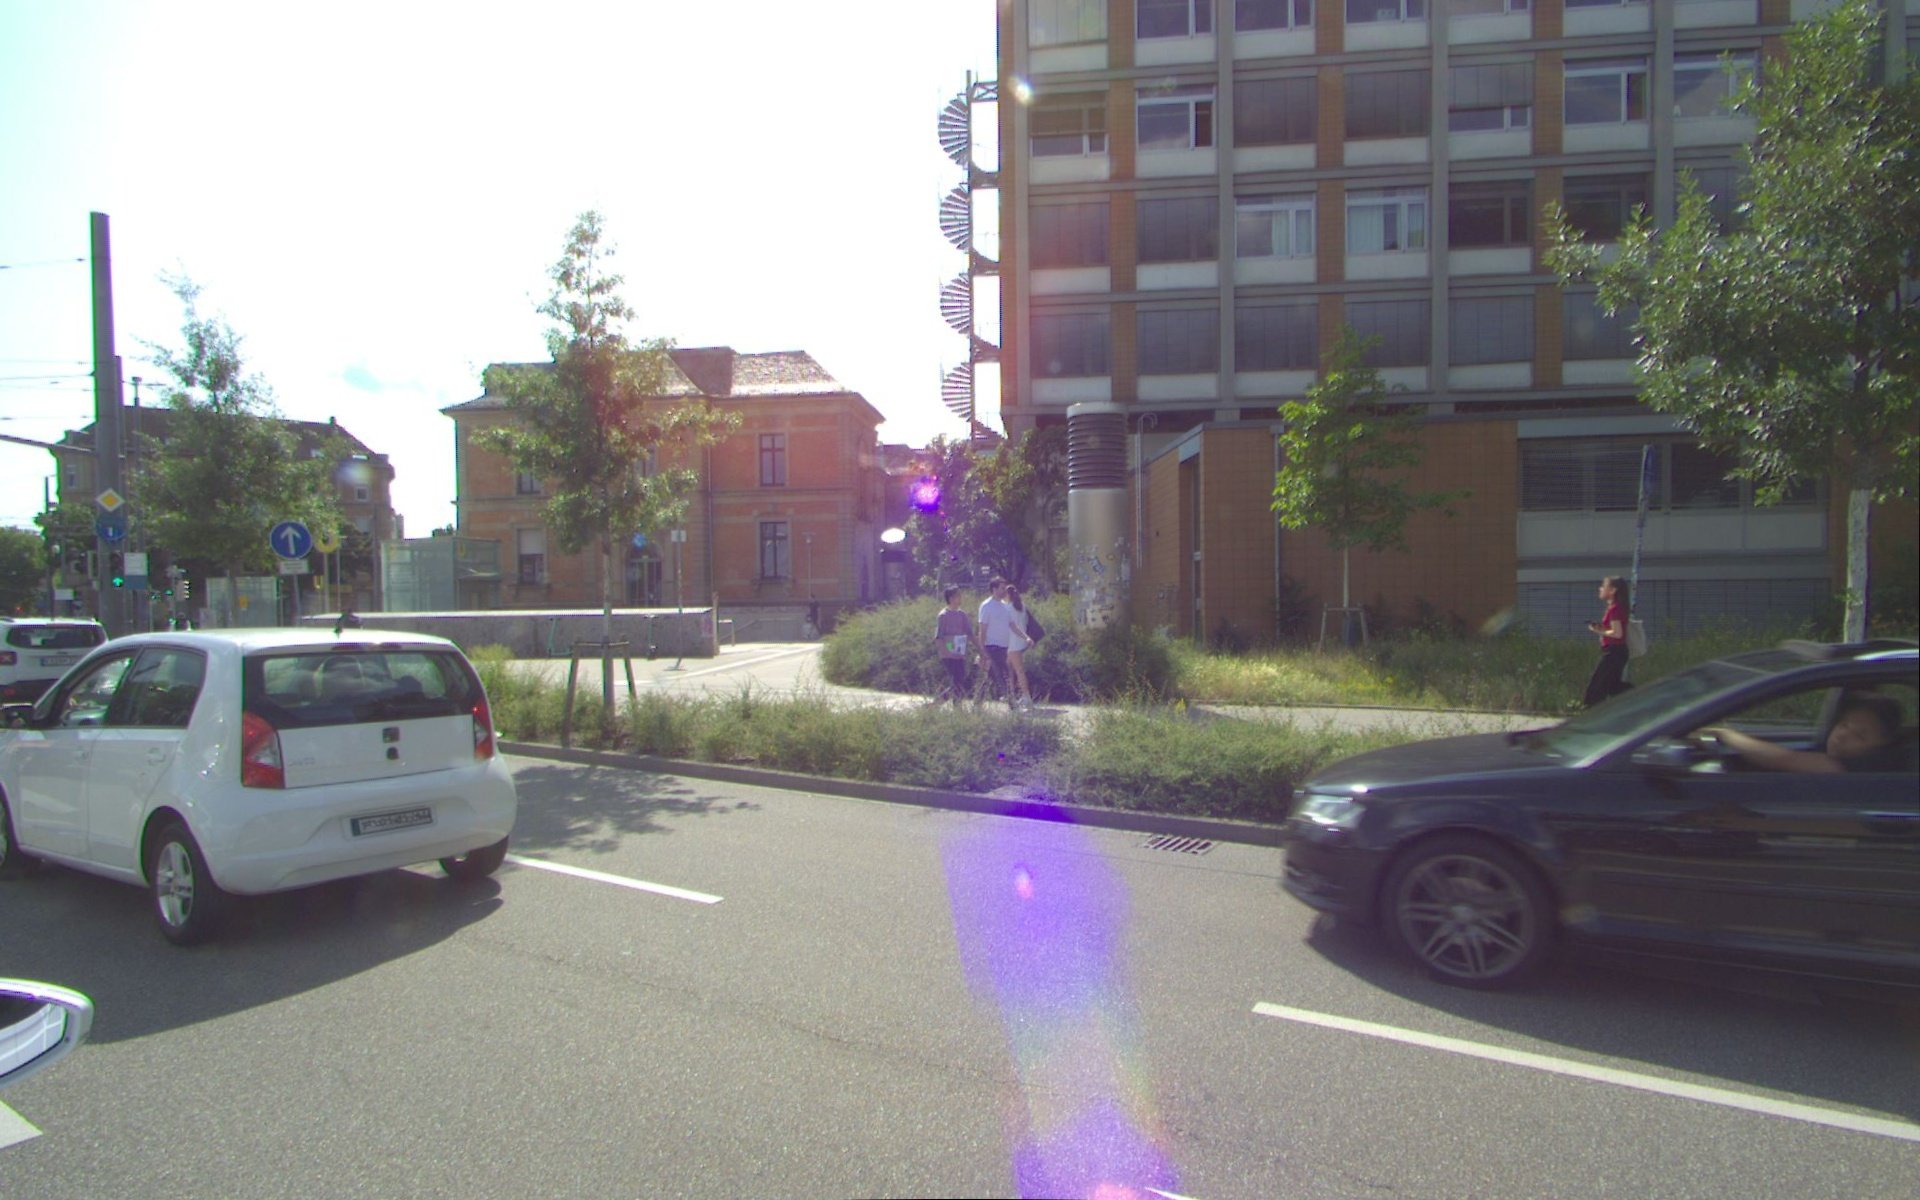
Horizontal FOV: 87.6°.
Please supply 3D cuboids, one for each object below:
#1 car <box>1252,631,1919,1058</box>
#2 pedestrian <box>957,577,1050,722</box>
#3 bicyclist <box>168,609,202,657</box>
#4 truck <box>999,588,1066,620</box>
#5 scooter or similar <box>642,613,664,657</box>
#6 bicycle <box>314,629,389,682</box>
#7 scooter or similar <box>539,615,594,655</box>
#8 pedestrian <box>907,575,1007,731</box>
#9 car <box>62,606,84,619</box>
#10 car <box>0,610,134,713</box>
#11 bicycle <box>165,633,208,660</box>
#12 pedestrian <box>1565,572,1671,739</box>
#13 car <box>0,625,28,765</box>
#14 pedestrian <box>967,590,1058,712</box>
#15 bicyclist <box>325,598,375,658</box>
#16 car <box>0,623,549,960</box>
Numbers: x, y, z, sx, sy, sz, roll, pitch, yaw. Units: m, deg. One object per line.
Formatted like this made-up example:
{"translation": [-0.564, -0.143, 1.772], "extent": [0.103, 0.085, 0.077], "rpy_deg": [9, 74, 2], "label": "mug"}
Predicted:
{"translation": [3.480, 0.842, 4.166], "extent": [4.071, 1.390, 1.696], "rpy_deg": [-1, 0, 30], "label": "car"}
{"translation": [0.561, 0.608, 12.864], "extent": [0.878, 1.770, 0.739], "rpy_deg": [-1, 3, 37], "label": "pedestrian"}
{"translation": [-24.012, 1.014, 31.035], "extent": [0.763, 1.470, 0.607], "rpy_deg": [0, 0, 33], "label": "bicyclist"}
{"translation": [4.919, 0.294, 67.489], "extent": [4.304, 2.039, 2.000], "rpy_deg": [0, -2, 11], "label": "truck"}
{"translation": [-8.337, 0.934, 27.229], "extent": [0.457, 1.119, 1.316], "rpy_deg": [-1, 1, -13], "label": "scooter or similar"}
{"translation": [-13.043, 1.164, 21.441], "extent": [1.939, 0.983, 0.841], "rpy_deg": [0, 3, 43], "label": "bicycle"}
{"translation": [-11.248, 0.993, 28.607], "extent": [1.420, 1.133, 0.465], "rpy_deg": [0, 2, 13], "label": "scooter or similar"}
{"translation": [-0.032, 0.607, 12.046], "extent": [0.878, 1.778, 0.739], "rpy_deg": [-1, 3, 37], "label": "pedestrian"}
{"translation": [-116.116, 1.668, 131.109], "extent": [1.820, 1.673, 3.971], "rpy_deg": [0, -1, -37], "label": "car"}
{"translation": [-16.634, 1.058, 18.144], "extent": [3.951, 1.673, 1.829], "rpy_deg": [-2, -1, 39], "label": "car"}
{"translation": [-24.000, 1.444, 31.048], "extent": [1.599, 0.786, 0.583], "rpy_deg": [-1, 0, 34], "label": "bicycle"}
{"translation": [6.782, 0.553, 10.358], "extent": [0.877, 1.645, 0.612], "rpy_deg": [-1, 3, 32], "label": "pedestrian"}
{"translation": [-11.775, 1.005, 10.831], "extent": [3.631, 1.437, 1.844], "rpy_deg": [-1, -1, 36], "label": "car"}
{"translation": [0.748, 0.698, 14.212], "extent": [1.083, 1.645, 0.611], "rpy_deg": [-1, 3, 38], "label": "pedestrian"}
{"translation": [-13.011, 0.576, 21.342], "extent": [0.913, 1.237, 0.631], "rpy_deg": [1, 3, 42], "label": "bicyclist"}
{"translation": [-4.466, 0.874, 6.089], "extent": [3.941, 1.440, 1.647], "rpy_deg": [-1, -1, 31], "label": "car"}
